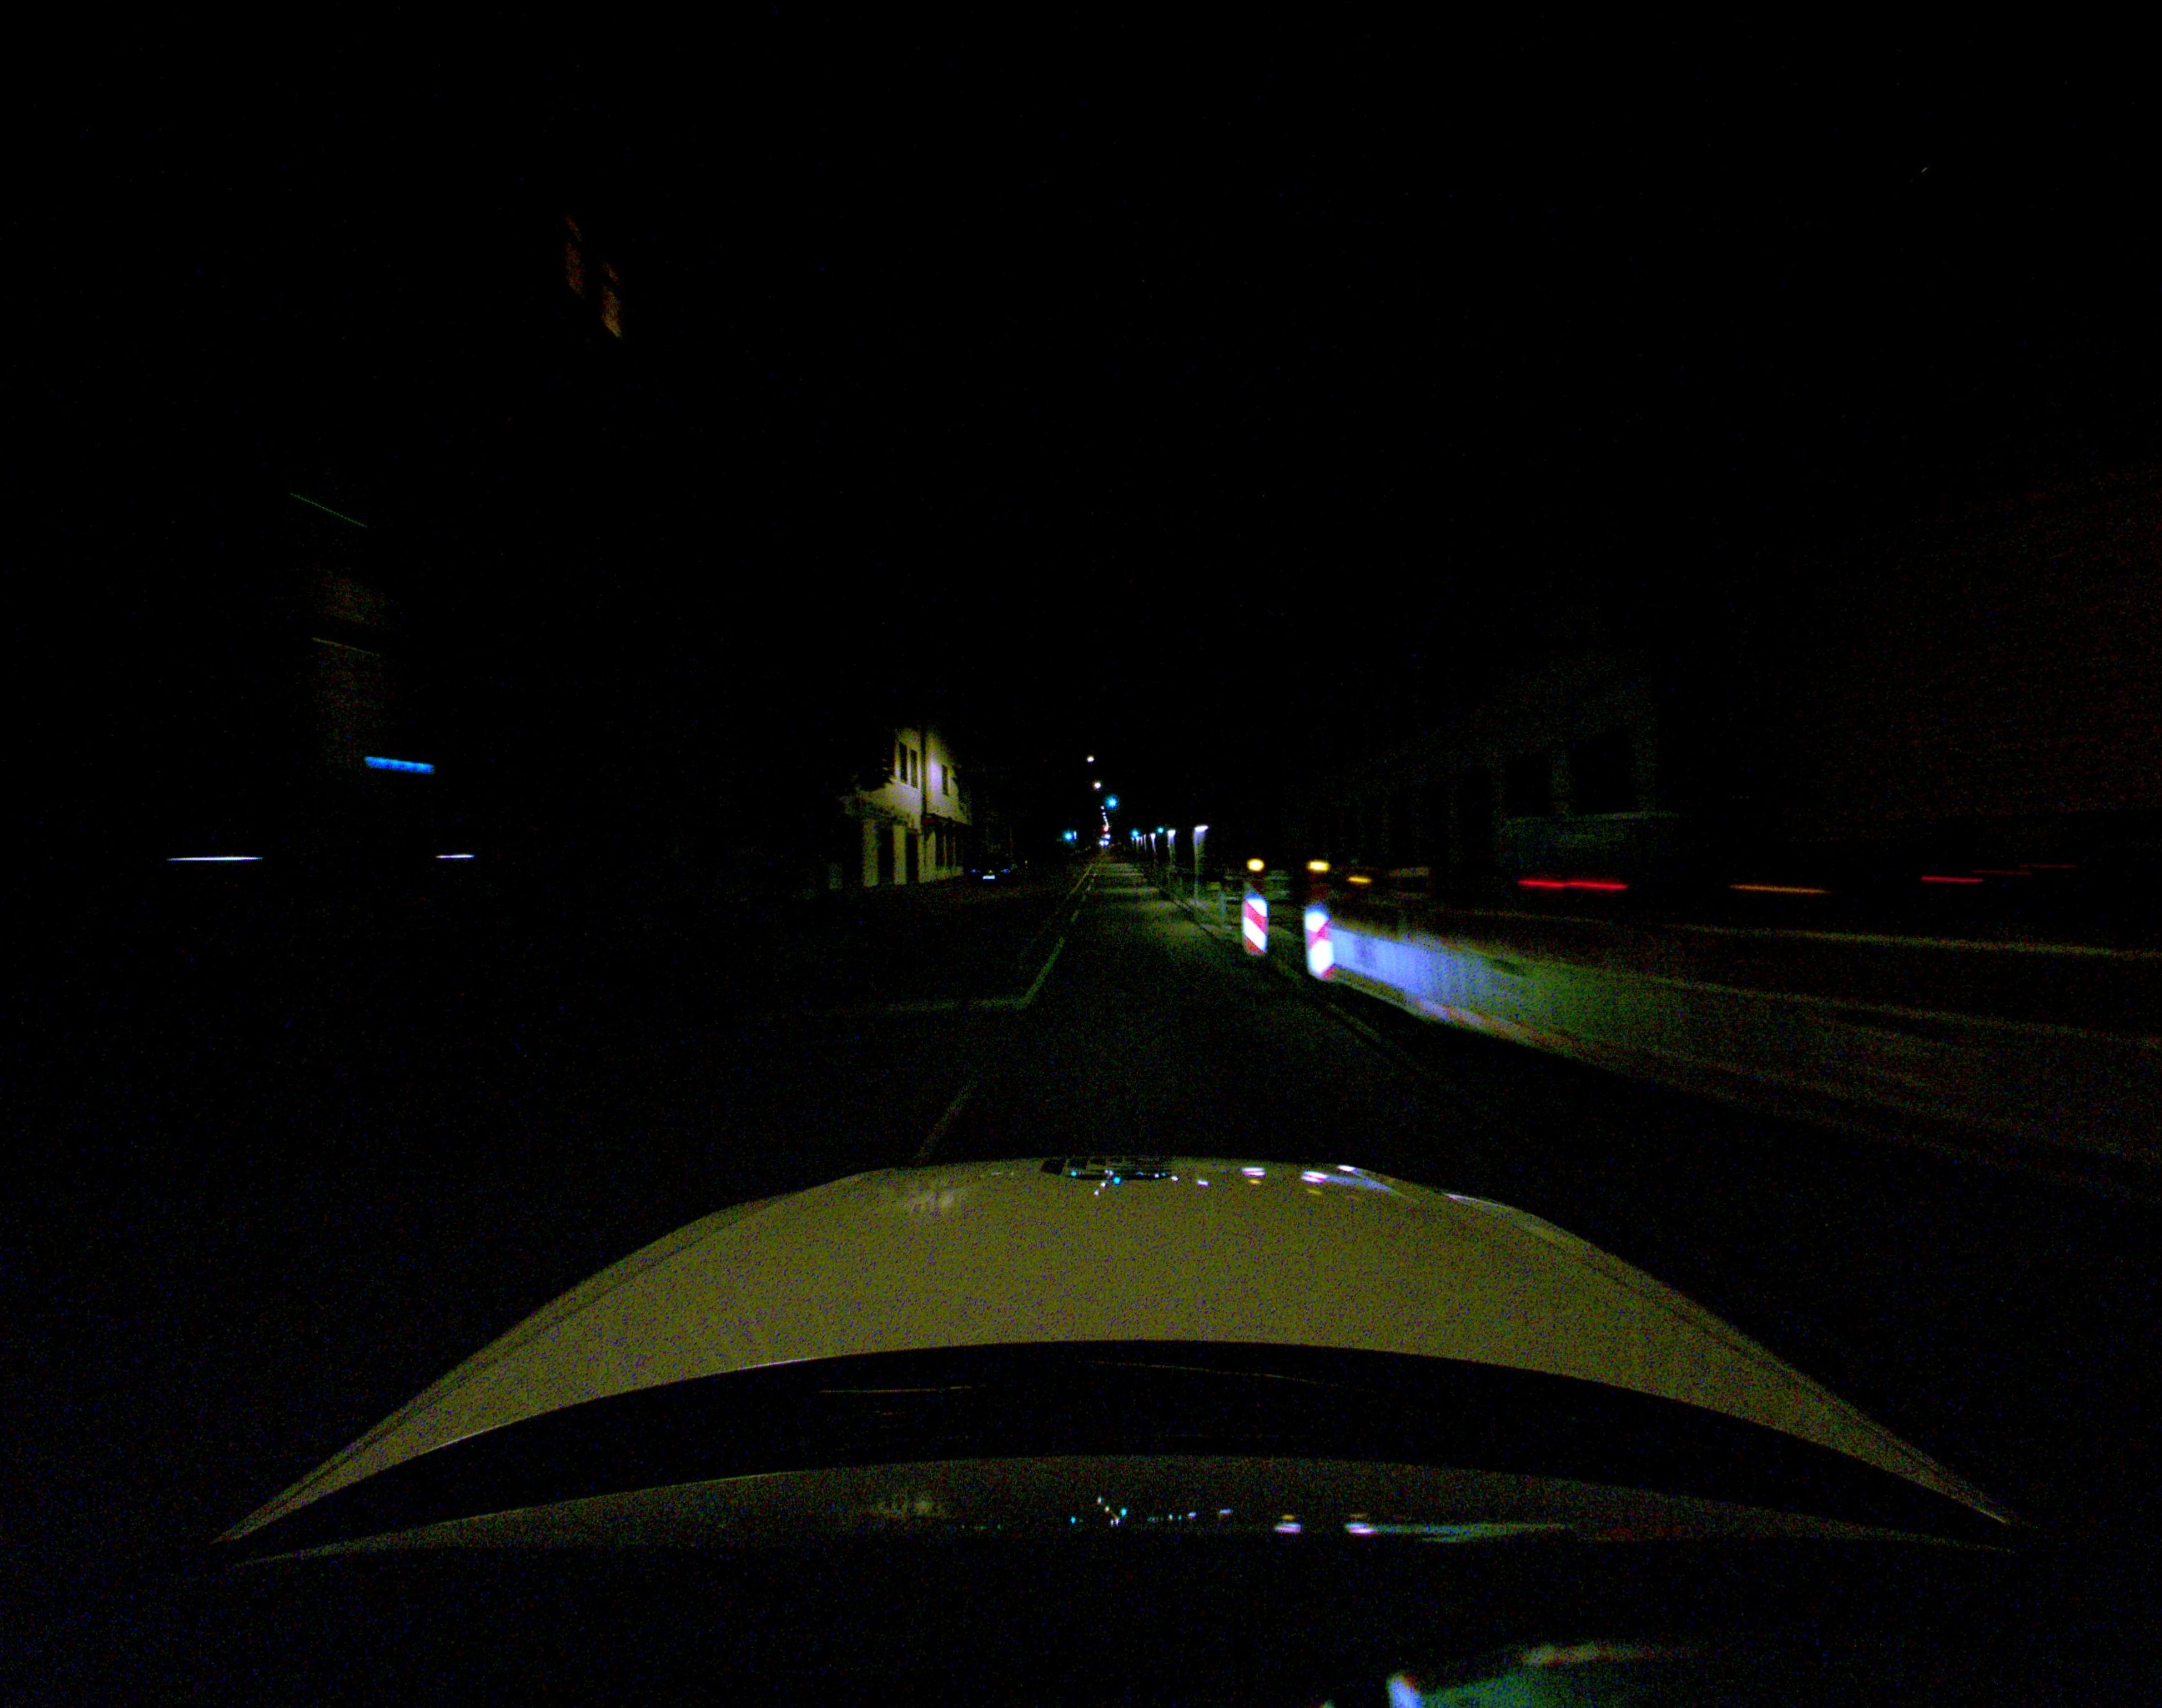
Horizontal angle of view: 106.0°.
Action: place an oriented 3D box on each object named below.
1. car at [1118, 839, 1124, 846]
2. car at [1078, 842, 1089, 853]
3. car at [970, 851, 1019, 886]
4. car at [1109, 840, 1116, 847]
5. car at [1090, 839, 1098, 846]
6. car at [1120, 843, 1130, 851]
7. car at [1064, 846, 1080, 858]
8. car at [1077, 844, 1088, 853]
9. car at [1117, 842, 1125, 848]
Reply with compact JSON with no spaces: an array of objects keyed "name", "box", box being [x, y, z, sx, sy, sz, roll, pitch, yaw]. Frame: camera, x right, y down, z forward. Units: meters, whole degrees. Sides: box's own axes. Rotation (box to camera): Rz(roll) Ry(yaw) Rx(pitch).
[{"name":"car","box":[12.130,-3.416,247.362,1.866,1.907,4.207,-2,1,2]},{"name":"car","box":[0.463,-1.247,153.056,1.866,1.814,4.207,-2,1,2]},{"name":"car","box":[-3.931,0.606,37.614,1.664,1.443,4.207,-2,1,2]},{"name":"car","box":[9.010,-2.960,230.824,1.865,1.814,4.208,-2,1,3]},{"name":"car","box":[3.752,-3.311,237.514,2.069,1.814,4.208,-2,1,3]},{"name":"car","box":[8.570,-1.362,159.875,1.866,1.544,4.207,-2,1,2]},{"name":"car","box":[-1.168,-0.289,109.603,1.866,1.544,4.207,-2,1,2]},{"name":"car","box":[0.303,-1.007,147.077,1.866,1.544,4.207,-2,1,2]},{"name":"car","box":[9.750,-2.212,198.826,1.866,1.544,4.207,-2,1,2]}]
